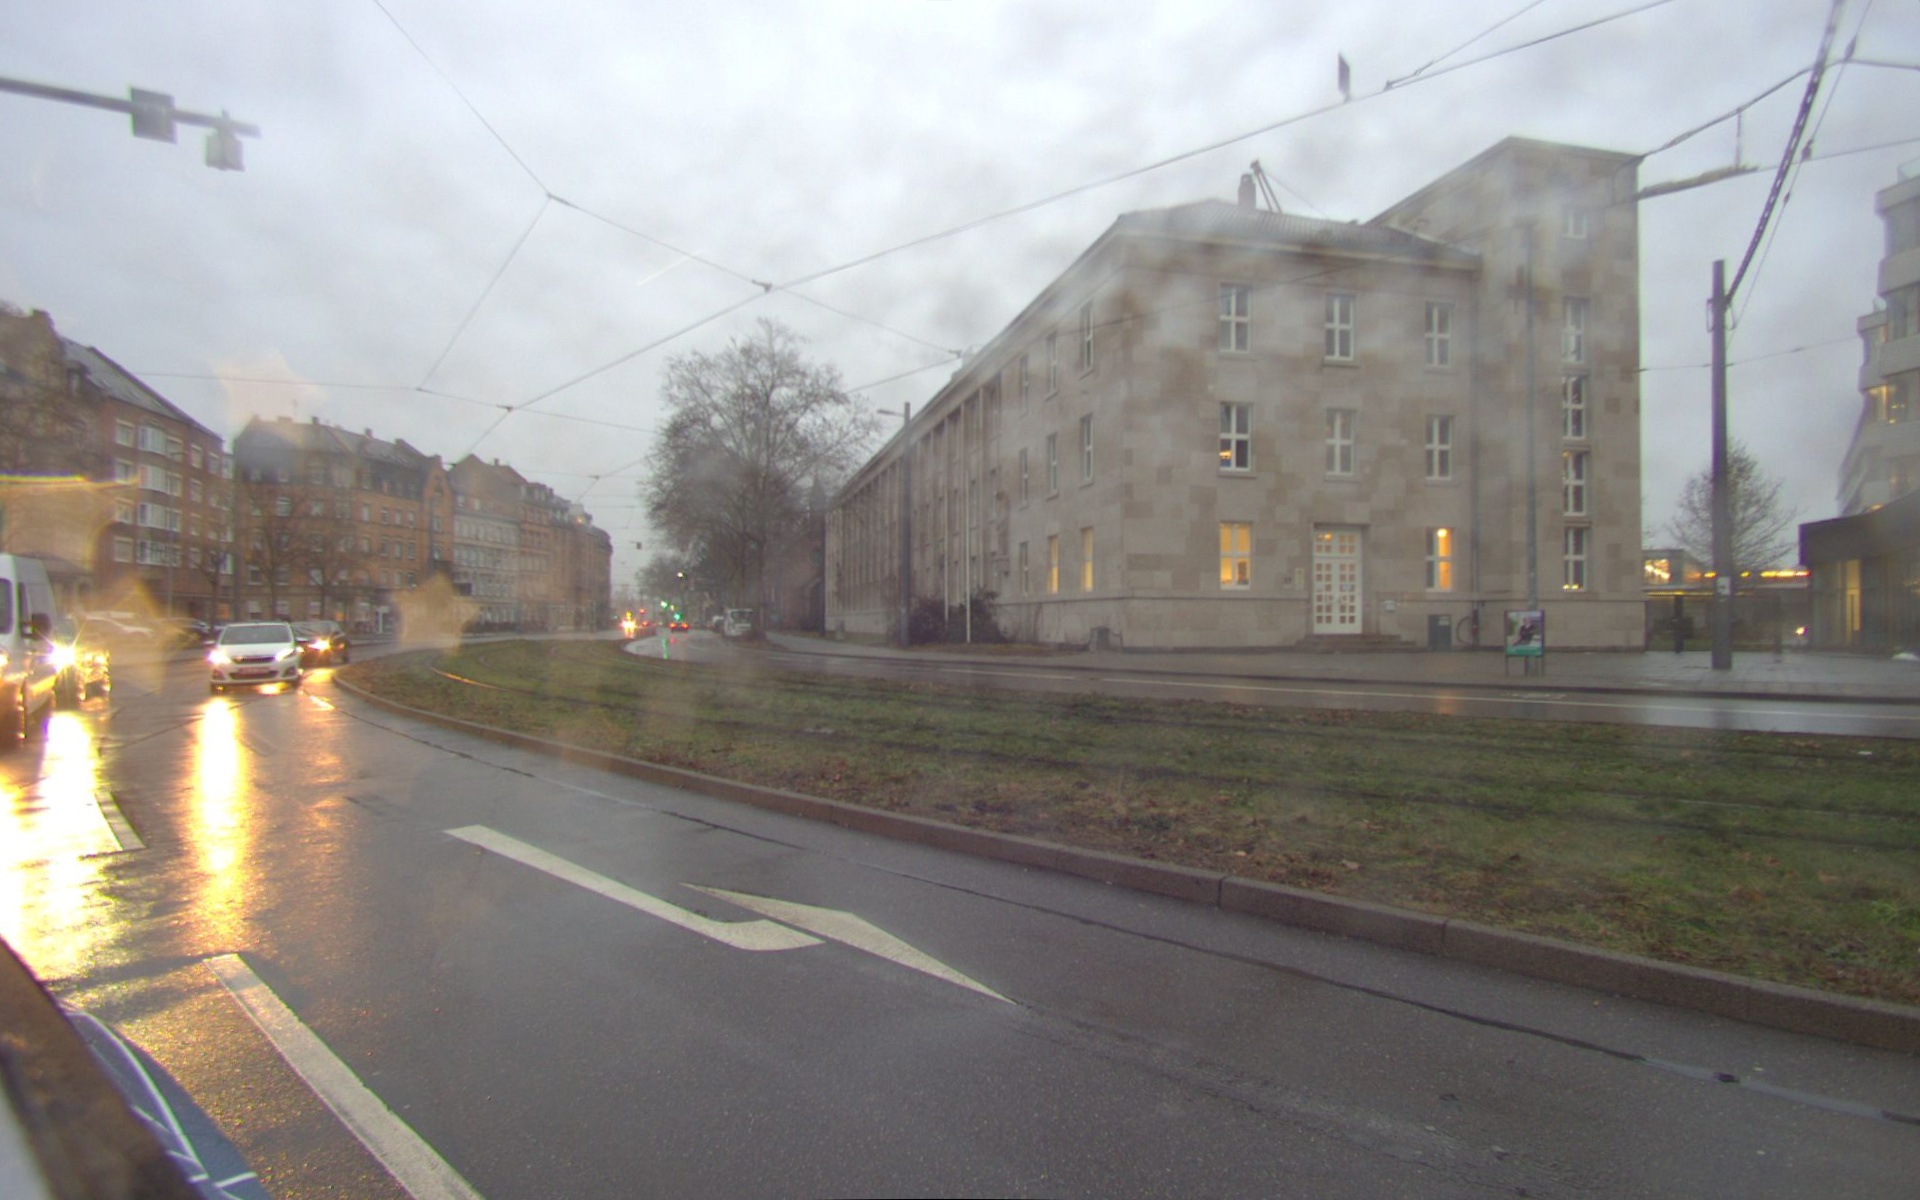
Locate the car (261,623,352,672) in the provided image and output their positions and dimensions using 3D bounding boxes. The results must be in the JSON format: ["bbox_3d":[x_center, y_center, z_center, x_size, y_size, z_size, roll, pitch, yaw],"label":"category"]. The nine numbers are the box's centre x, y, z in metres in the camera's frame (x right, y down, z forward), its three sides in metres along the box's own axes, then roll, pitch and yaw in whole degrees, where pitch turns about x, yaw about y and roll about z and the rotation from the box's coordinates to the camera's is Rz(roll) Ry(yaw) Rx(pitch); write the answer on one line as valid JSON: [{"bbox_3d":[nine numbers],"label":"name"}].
[{"bbox_3d":[-21.709,1.543,33.771,1.809,1.545,3.828,0,-2,-21],"label":"car"}]

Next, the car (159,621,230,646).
[{"bbox_3d":[-43.720,1.905,57.867,3.134,1.424,1.385,1,-2,-35],"label":"car"}]

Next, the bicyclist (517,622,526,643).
[{"bbox_3d":[-43.652,3.261,100.852,0.766,2.029,0.833,-1,0,-21],"label":"bicyclist"}]

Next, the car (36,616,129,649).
[{"bbox_3d":[-40.622,1.496,46.938,3.135,1.440,1.431,1,-2,-37],"label":"car"}]

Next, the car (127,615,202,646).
[{"bbox_3d":[-43.122,1.667,54.930,3.135,1.636,1.449,1,-2,-37],"label":"car"}]

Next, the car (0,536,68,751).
[{"bbox_3d":[-13.505,0.553,13.389,2.207,2.481,5.681,0,-1,-38],"label":"car"}]

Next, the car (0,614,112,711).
[{"bbox_3d":[-18.071,1.154,19.841,1.846,1.701,4.181,0,-1,-35],"label":"car"}]

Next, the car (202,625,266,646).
[{"bbox_3d":[-44.324,2.158,61.829,3.134,1.293,1.385,1,-2,-35],"label":"car"}]

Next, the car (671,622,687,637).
[{"bbox_3d":[-31.623,3.278,113.908,1.662,1.652,3.657,0,-2,-16],"label":"car"}]

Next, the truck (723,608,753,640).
[{"bbox_3d":[-14.450,1.560,65.810,1.808,2.060,4.010,0,-2,-13],"label":"truck"}]

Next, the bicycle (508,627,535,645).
[{"bbox_3d":[-43.699,3.556,100.853,2.410,1.719,0.848,-1,0,-19],"label":"bicycle"}]

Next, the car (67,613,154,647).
[{"bbox_3d":[-41.532,1.451,49.555,3.135,1.636,1.431,1,-2,-37],"label":"car"}]

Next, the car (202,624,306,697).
[{"bbox_3d":[-15.539,1.272,22.406,1.662,1.441,3.356,0,-1,-31],"label":"car"}]
